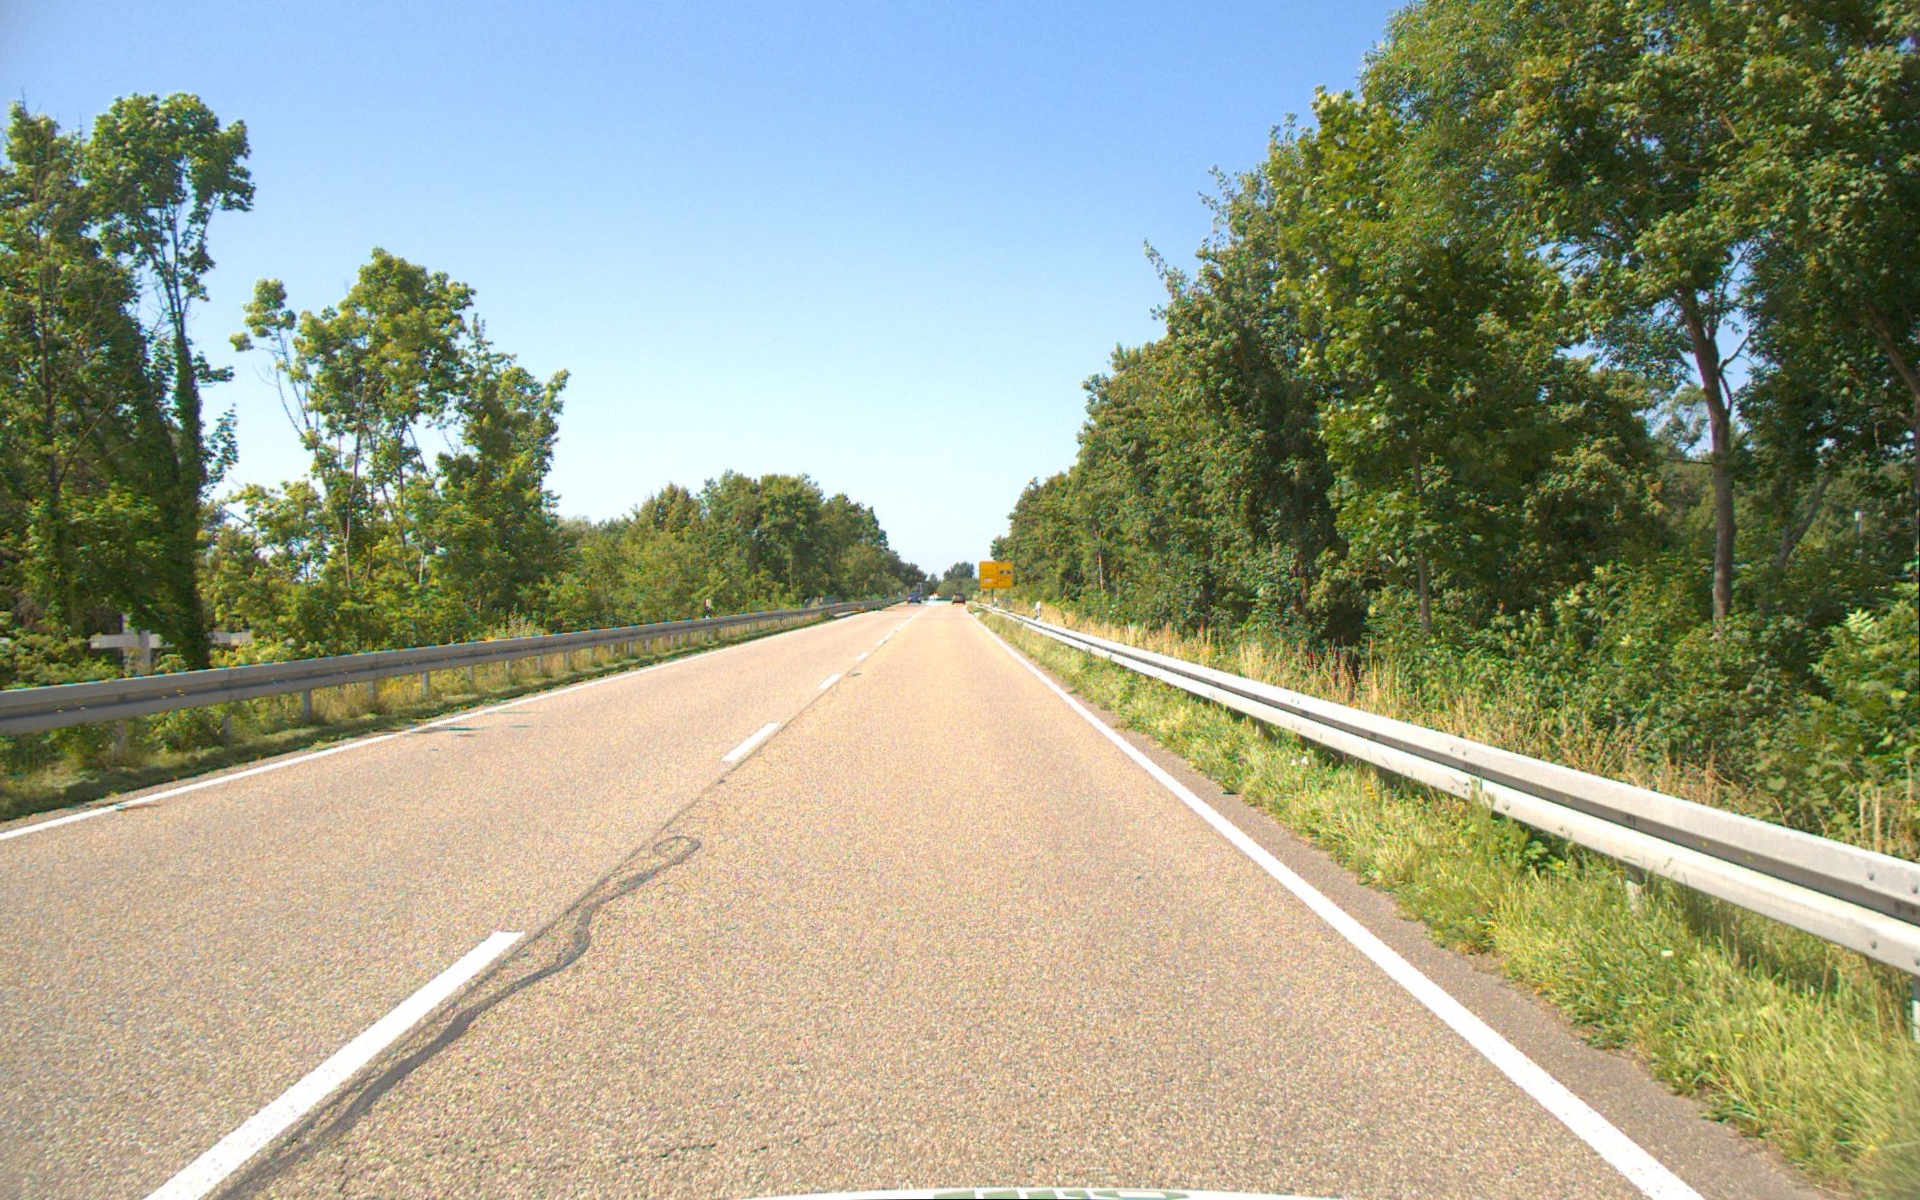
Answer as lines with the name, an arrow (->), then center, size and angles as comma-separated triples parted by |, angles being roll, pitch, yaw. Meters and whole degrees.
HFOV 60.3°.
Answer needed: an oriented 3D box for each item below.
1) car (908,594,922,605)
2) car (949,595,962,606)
car -> -6.096, -0.090, 224.078 | 1.710, 1.450, 4.677 | 0, 0, 0
car -> -0.602, 0.077, 215.692 | 1.705, 1.496, 3.693 | 0, 0, 0
